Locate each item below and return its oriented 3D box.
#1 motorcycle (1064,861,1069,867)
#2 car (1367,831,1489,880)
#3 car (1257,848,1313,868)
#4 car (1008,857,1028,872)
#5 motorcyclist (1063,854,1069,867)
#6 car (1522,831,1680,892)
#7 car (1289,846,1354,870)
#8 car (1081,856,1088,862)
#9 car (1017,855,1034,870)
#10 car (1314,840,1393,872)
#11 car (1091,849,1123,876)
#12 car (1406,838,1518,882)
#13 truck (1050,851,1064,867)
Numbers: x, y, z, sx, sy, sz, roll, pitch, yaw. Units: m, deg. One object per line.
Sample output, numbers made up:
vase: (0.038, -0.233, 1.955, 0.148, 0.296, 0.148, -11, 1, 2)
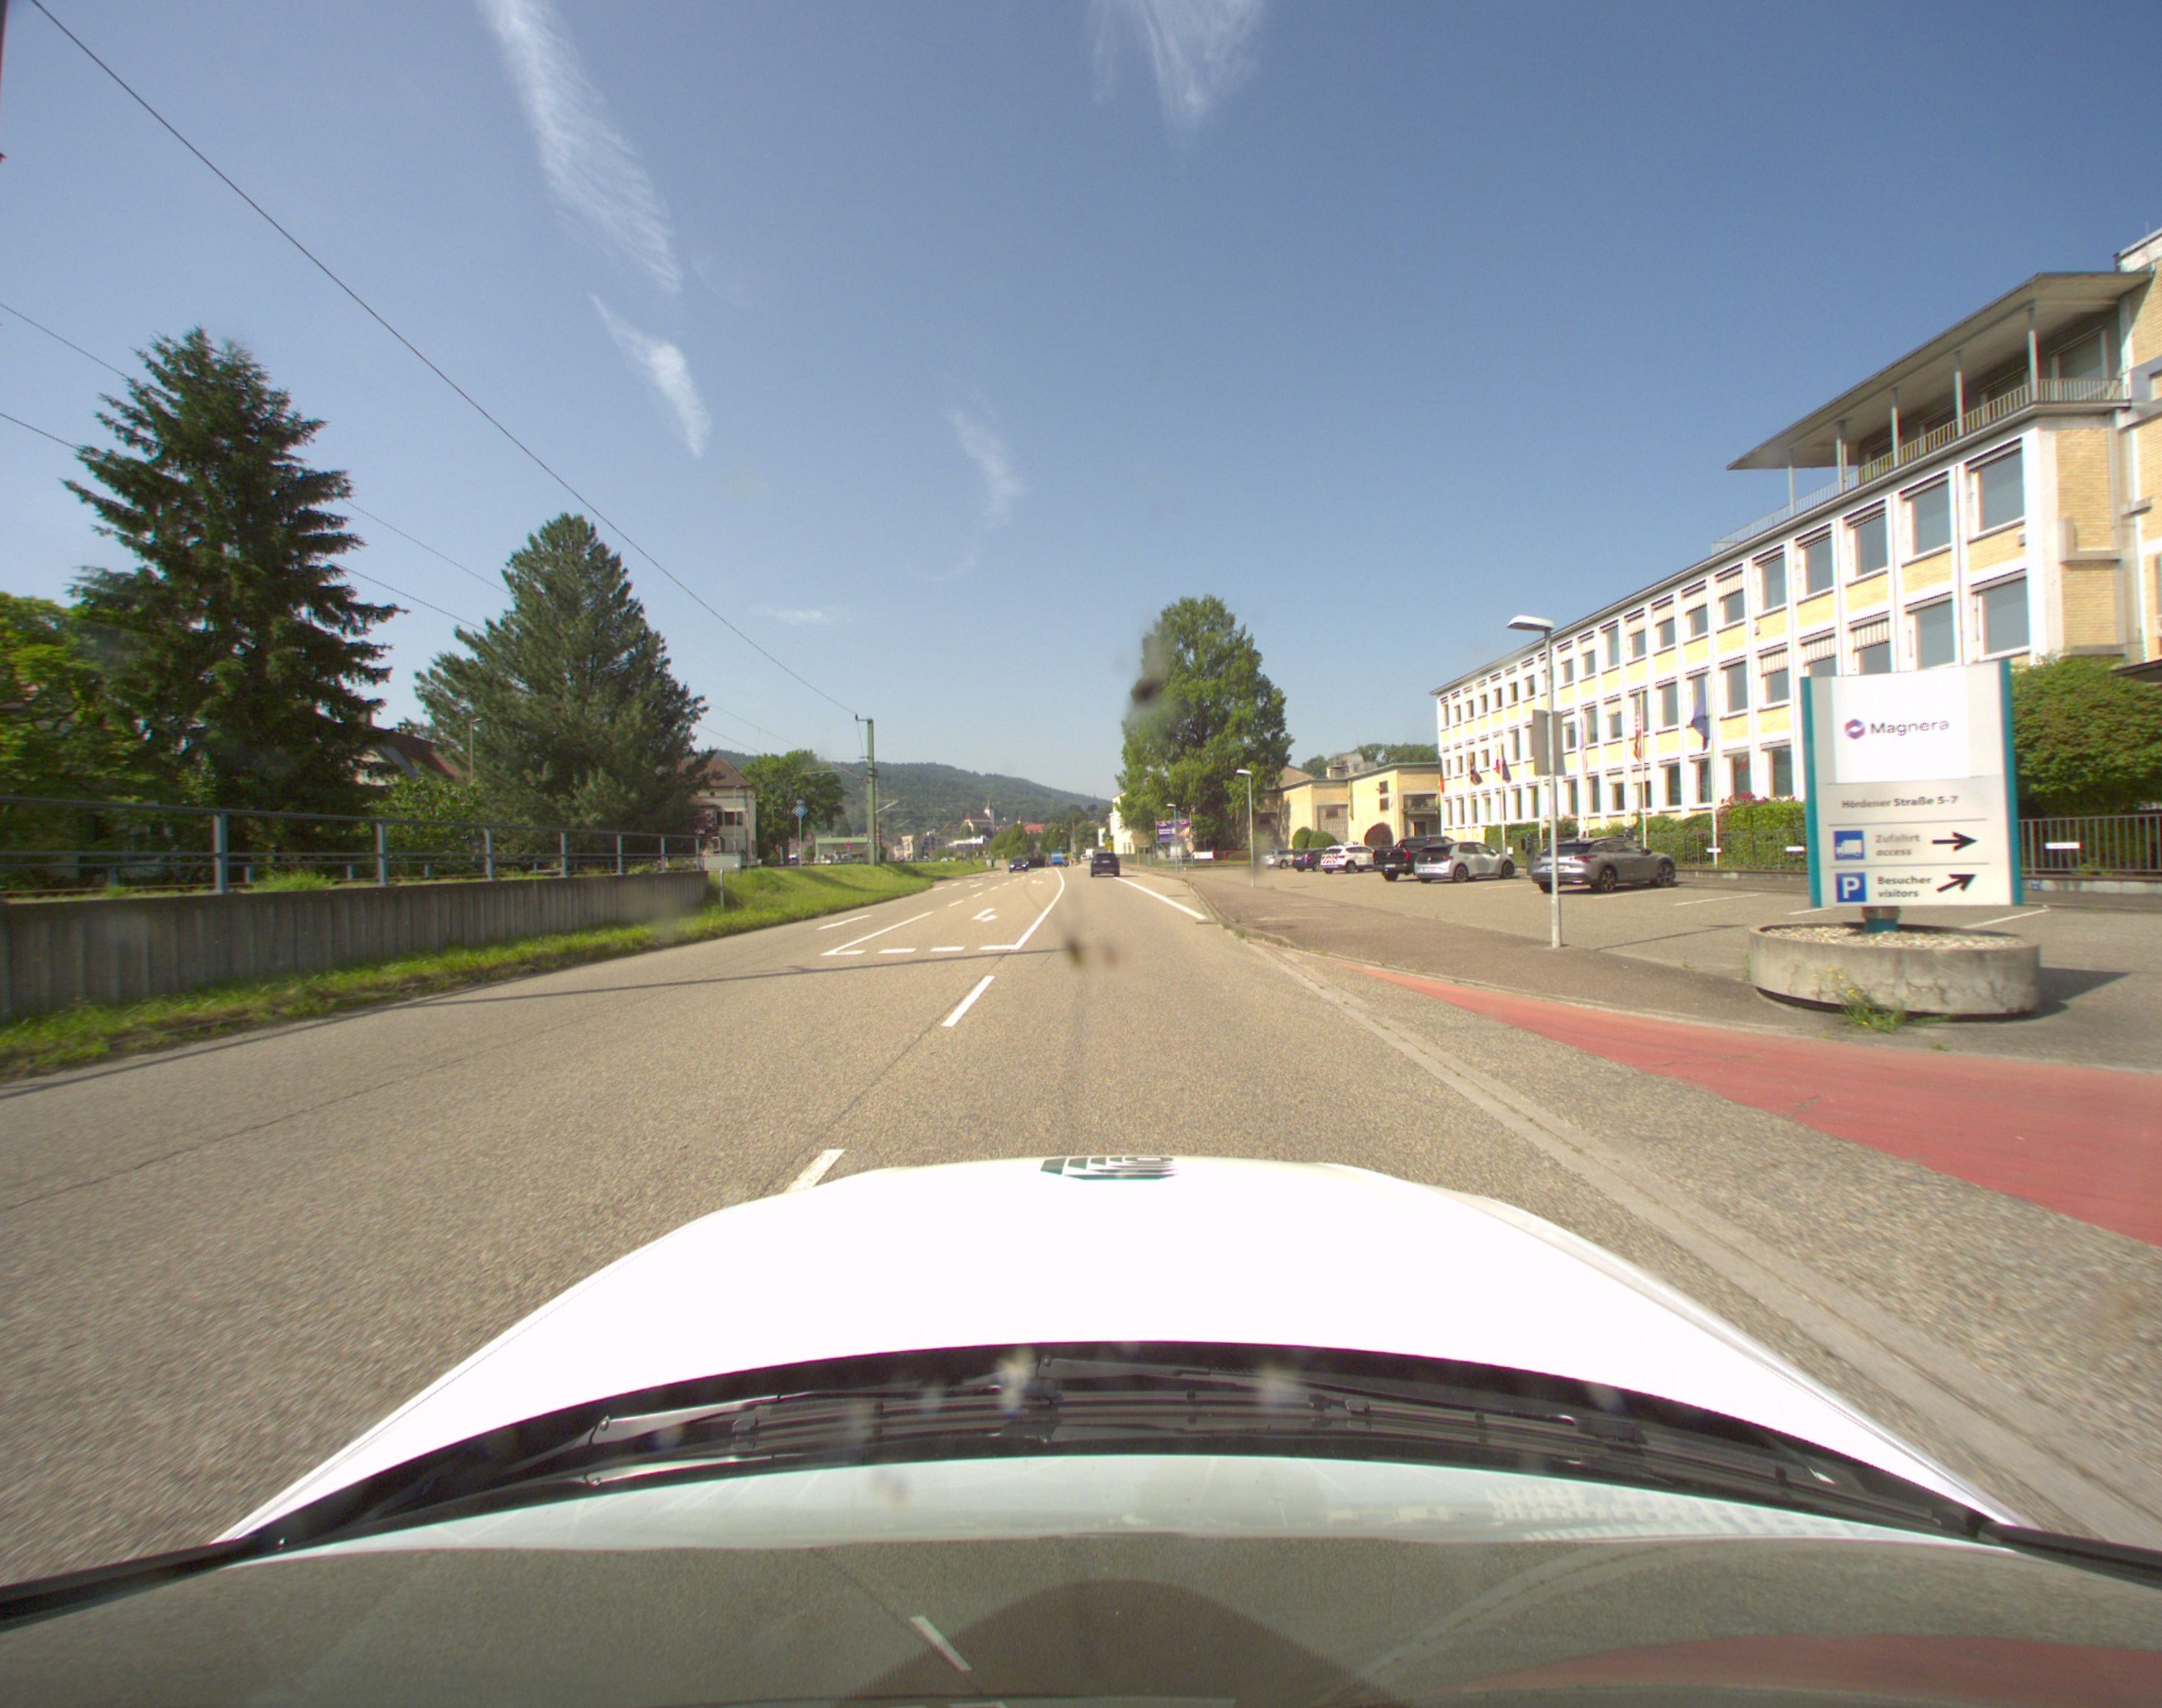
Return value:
motorcycle: (-1.764, 1.237, 98.881, 0.604, 0.753, 1.414, -2, 0, 0)
car: (14.523, 0.049, 34.040, 5.050, 1.832, 1.964, -2, 0, -29)
car: (14.999, 0.281, 59.871, 4.013, 1.401, 1.648, -2, 0, -31)
car: (-6.119, 1.017, 79.237, 1.751, 1.429, 3.997, -2, 0, -2)
motorcyclist: (-1.810, 0.788, 98.887, 0.604, 1.520, 0.863, -2, 0, 0)
car: (14.628, 0.186, 22.878, 4.323, 1.505, 1.869, -2, 0, -29)
car: (15.290, 0.276, 51.721, 4.013, 1.401, 1.648, -2, 0, -31)
car: (0.831, 1.307, 220.720, 1.760, 1.486, 4.001, -1, -1, 1)
car: (-6.359, 0.972, 93.528, 1.751, 1.640, 3.996, -2, 0, -3)
car: (15.346, 0.117, 45.860, 4.185, 1.672, 1.852, -2, 0, -29)
car: (1.662, 0.551, 53.511, 1.914, 1.640, 3.999, -2, 0, -1)
car: (14.623, 0.217, 31.256, 4.011, 1.505, 1.869, -2, 0, -29)
truck: (-4.458, 0.907, 150.183, 2.307, 2.970, 5.960, -2, 0, -2)
